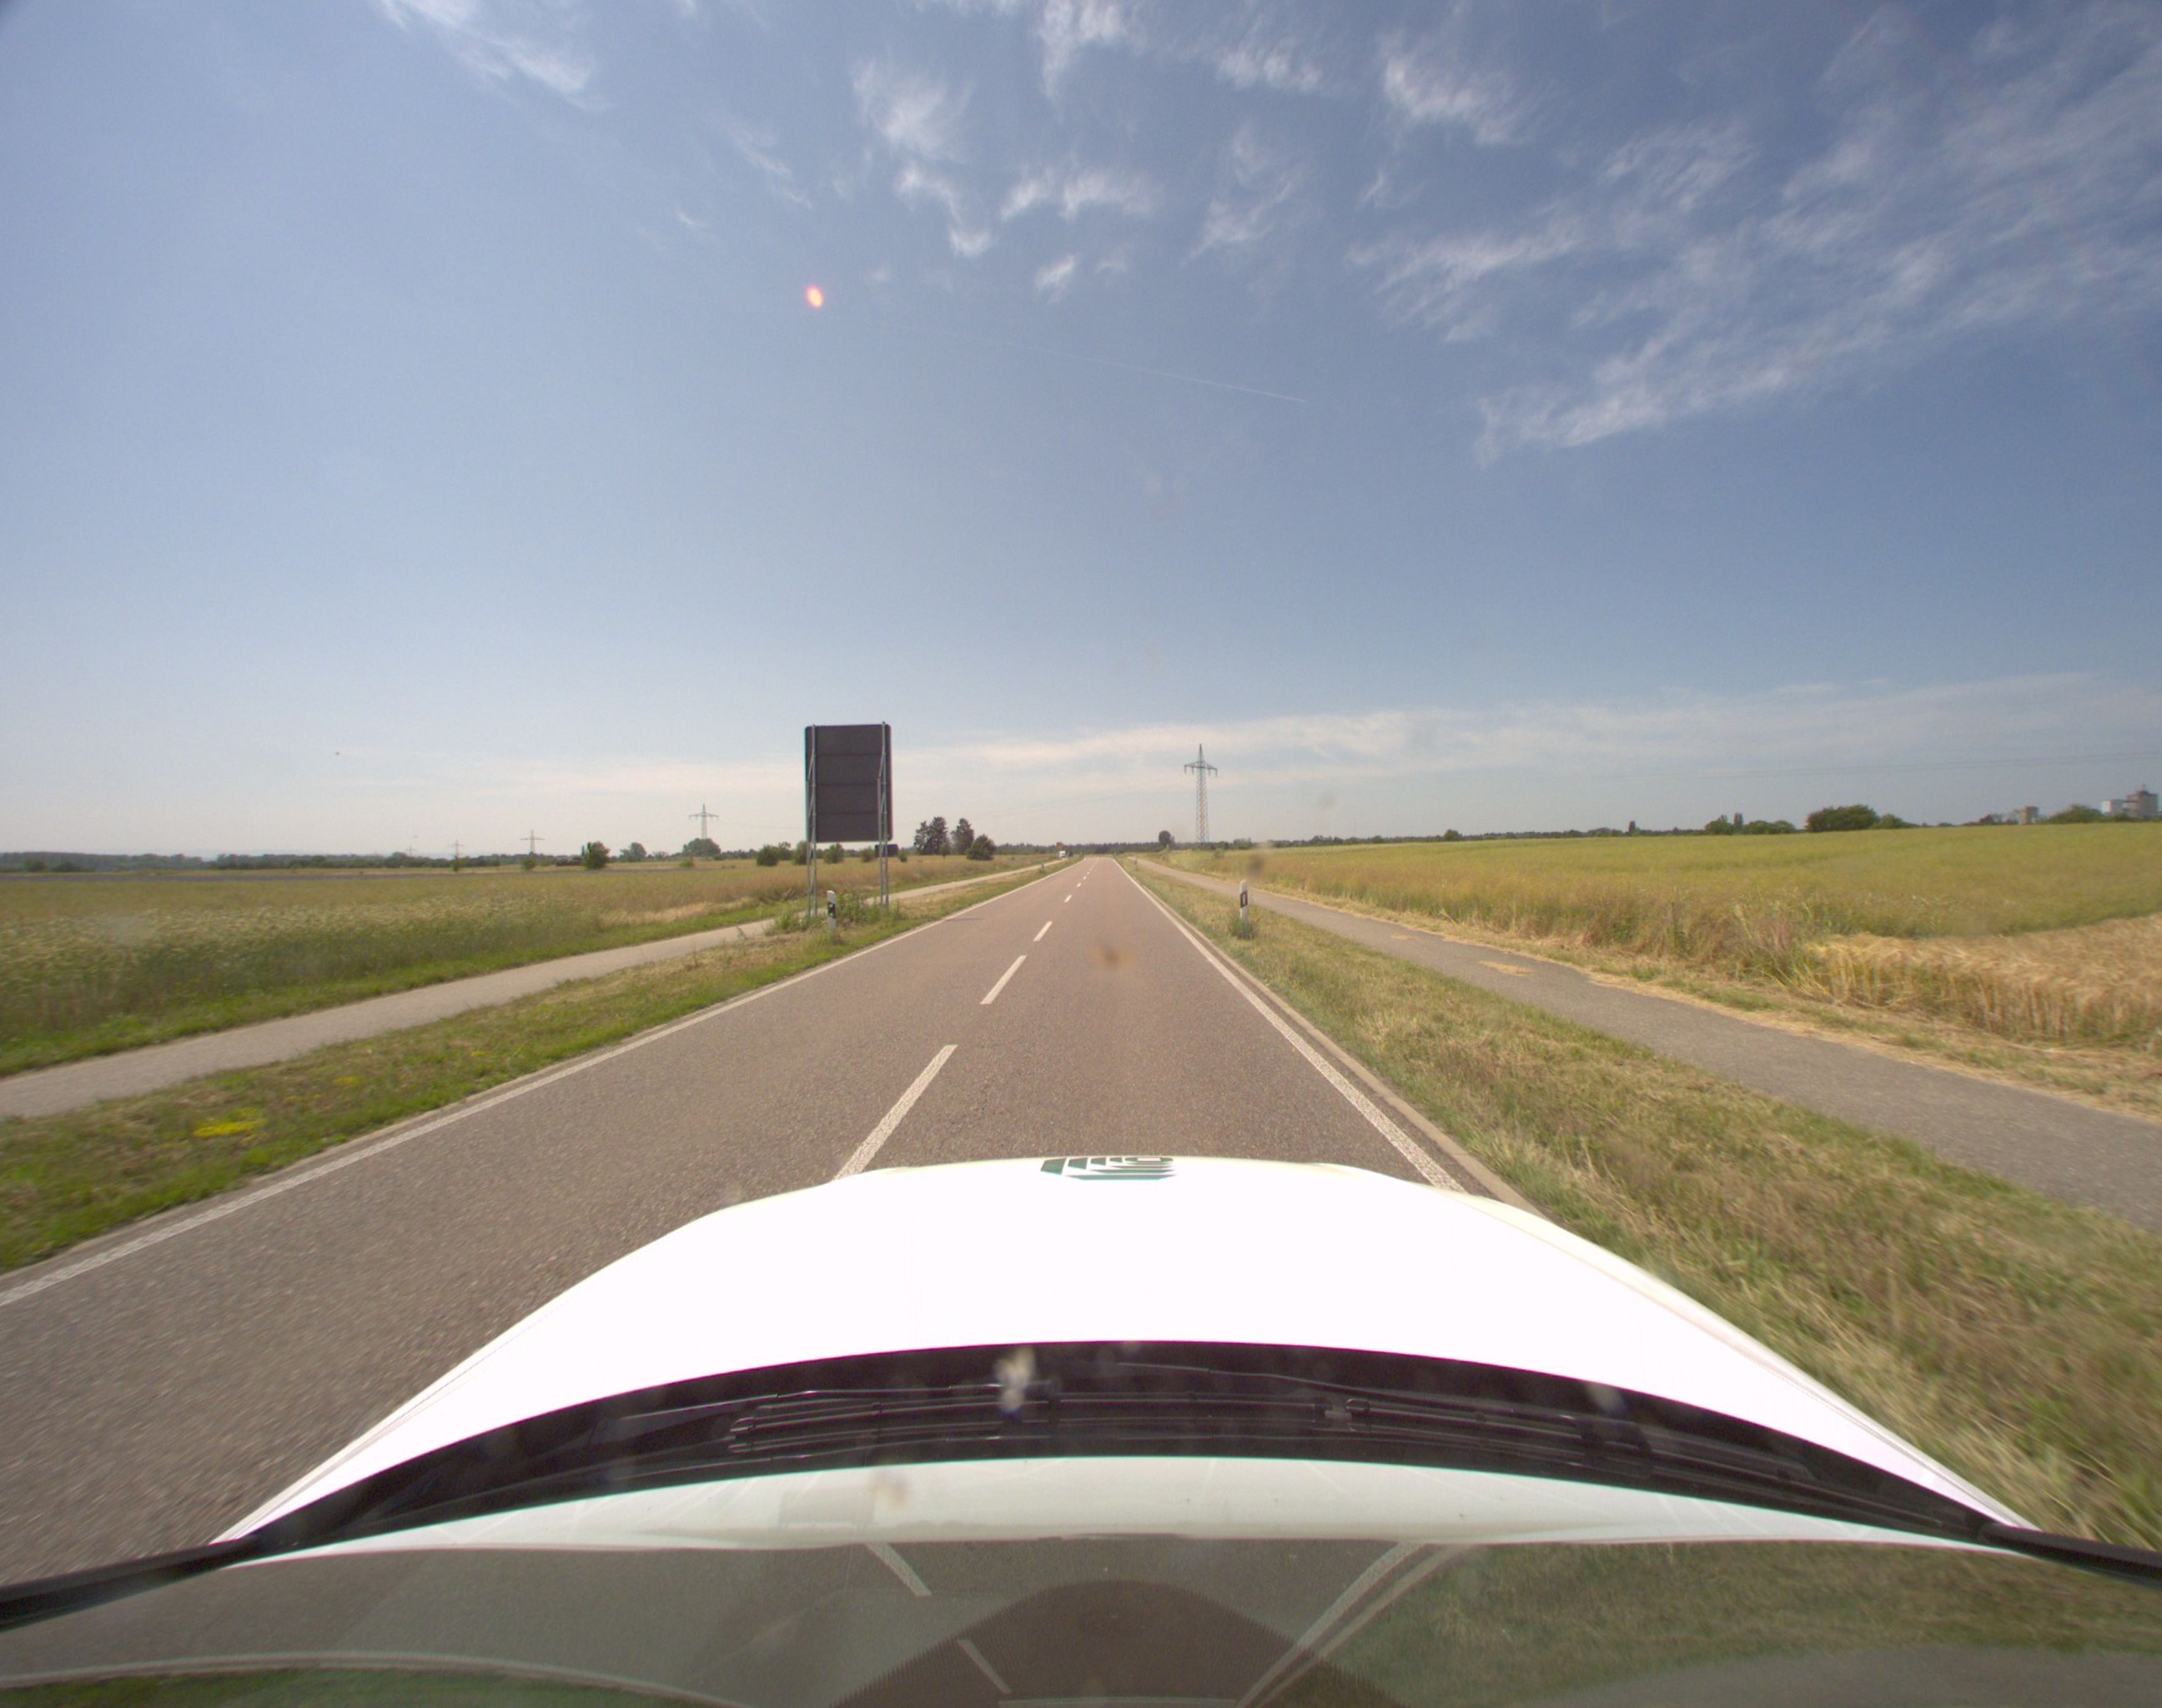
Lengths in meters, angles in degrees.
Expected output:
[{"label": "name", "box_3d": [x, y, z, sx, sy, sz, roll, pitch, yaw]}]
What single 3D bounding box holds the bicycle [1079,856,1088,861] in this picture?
[{"label": "bicycle", "box_3d": [0.640, 1.162, 199.767, 2.228, 1.229, 0.755, -2, 0, -44]}]
